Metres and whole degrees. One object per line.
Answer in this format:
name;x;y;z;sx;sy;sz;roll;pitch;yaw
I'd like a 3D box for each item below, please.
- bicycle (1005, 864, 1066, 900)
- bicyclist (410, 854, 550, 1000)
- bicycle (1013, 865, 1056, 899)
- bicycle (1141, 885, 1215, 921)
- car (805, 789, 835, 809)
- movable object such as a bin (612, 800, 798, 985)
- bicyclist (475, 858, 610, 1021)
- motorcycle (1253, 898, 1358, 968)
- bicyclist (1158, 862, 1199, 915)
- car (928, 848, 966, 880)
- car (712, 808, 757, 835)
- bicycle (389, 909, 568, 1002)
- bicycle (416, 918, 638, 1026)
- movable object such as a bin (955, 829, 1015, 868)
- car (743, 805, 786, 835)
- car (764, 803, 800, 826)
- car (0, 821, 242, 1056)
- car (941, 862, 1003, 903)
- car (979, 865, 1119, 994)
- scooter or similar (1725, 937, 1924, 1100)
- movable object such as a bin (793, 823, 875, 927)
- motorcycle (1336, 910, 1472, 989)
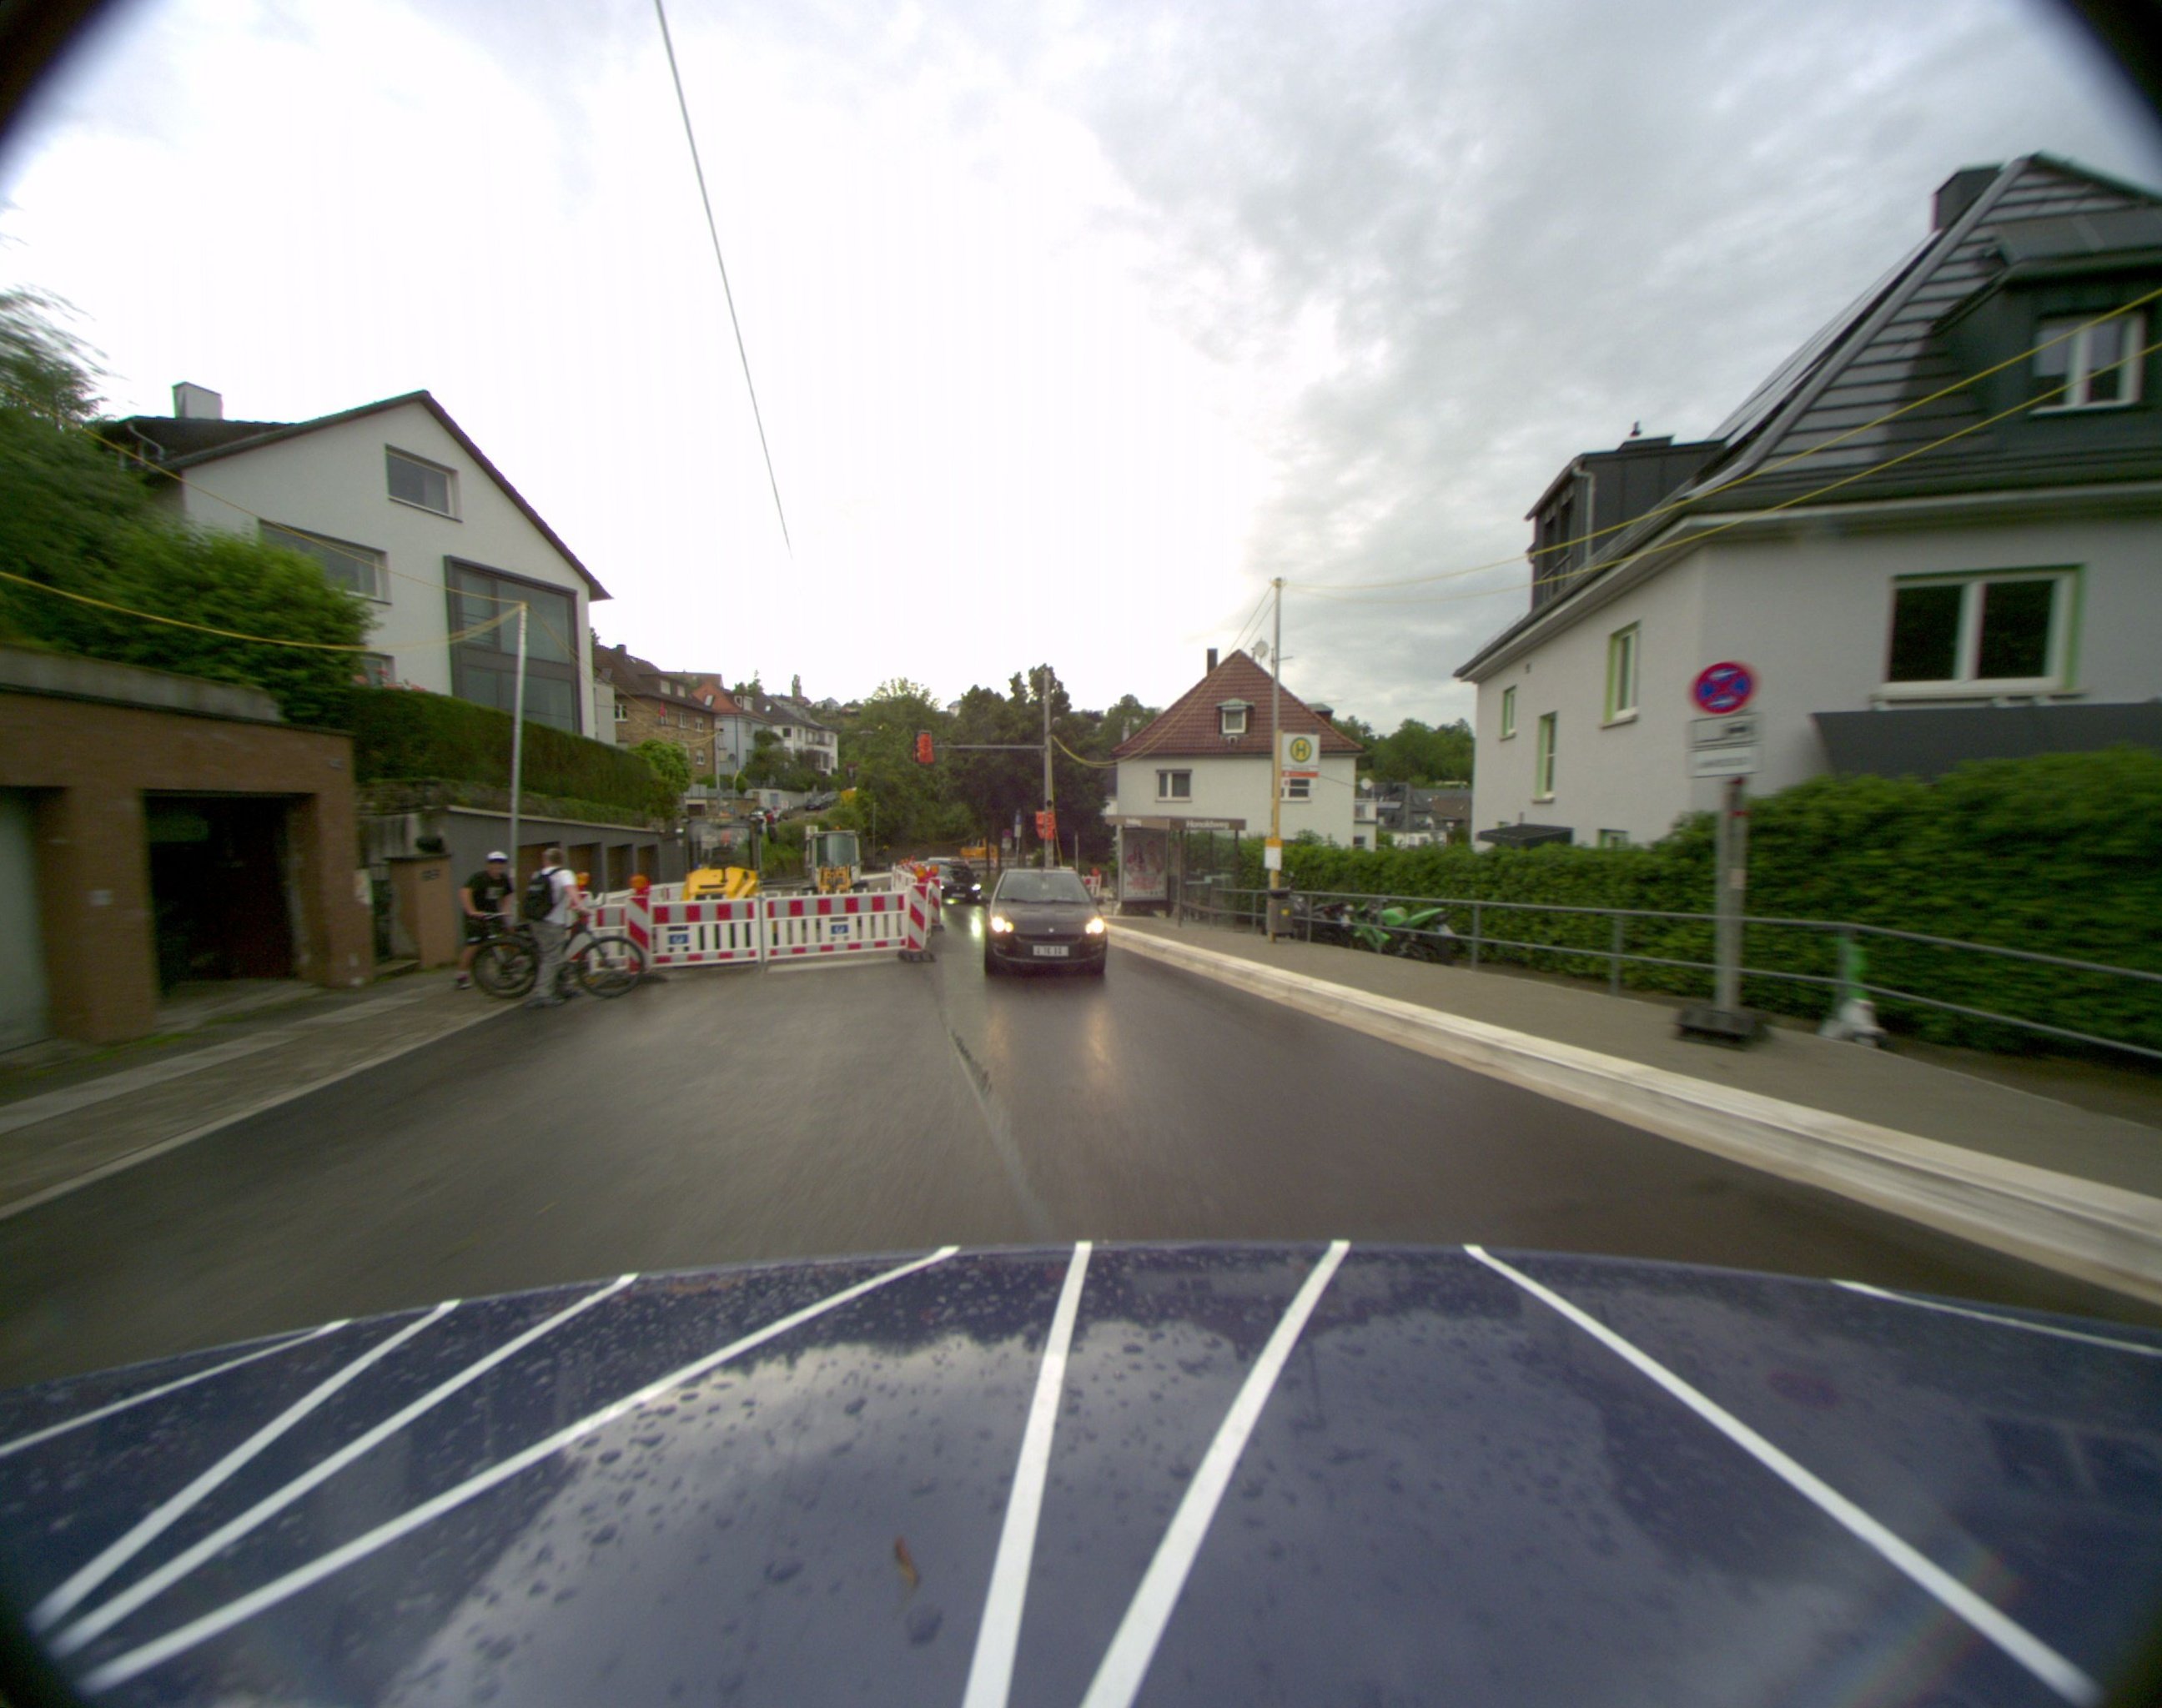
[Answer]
bicycle;-1.822;1.118;30.289;2.239;1.354;0.808;2;1;-21
bicyclist;-7.580;0.862;9.612;1.074;1.719;0.934;0;1;19
bicycle;-1.898;1.125;30.892;1.698;1.337;0.418;-1;0;-20
bicycle;2.797;1.422;22.039;1.877;0.926;1.096;2;1;-7
car;-28.103;-5.961;82.039;1.860;1.629;3.956;2;10;-1
movable object such as a bin;-6.836;0.606;14.548;2.094;2.821;5.669;0;0;-15
bicyclist;-6.144;0.917;8.754;1.078;1.719;0.931;-1;1;-24
motorcycle;3.943;1.365;13.568;0.669;1.030;2.149;1;-1;-18
bicyclist;2.817;0.984;22.031;0.909;1.431;1.096;2;1;-7
car;-7.822;0.561;44.735;2.001;1.699;4.569;1;1;-8
car;-28.087;-2.668;61.658;1.860;1.629;3.826;2;9;-1
bicycle;-7.629;1.246;9.643;1.825;0.975;0.934;0;1;19
bicycle;-6.240;1.301;8.722;1.886;0.975;0.931;0;1;-24
movable object such as a bin;-10.206;-0.609;81.408;3.324;3.818;7.214;2;1;20
car;-27.904;-3.035;67.104;1.900;2.069;4.421;2;9;-1
car;-28.045;-3.736;71.351;1.860;1.628;3.957;2;9;-1
car;-11.400;0.734;7.078;4.393;2.003;1.810;0;5;-16
car;-4.418;1.086;30.185;1.846;1.395;4.064;1;1;-16
car;-0.711;1.010;12.015;1.675;1.458;4.711;1;1;-9
scooter or similar;5.934;1.266;6.125;0.325;1.074;1.094;2;0;-18
movable object such as a bin;-7.545;0.465;23.702;2.094;2.822;5.667;0;2;-15
motorcycle;4.712;1.358;11.257;0.669;0.928;2.007;1;-1;-18
